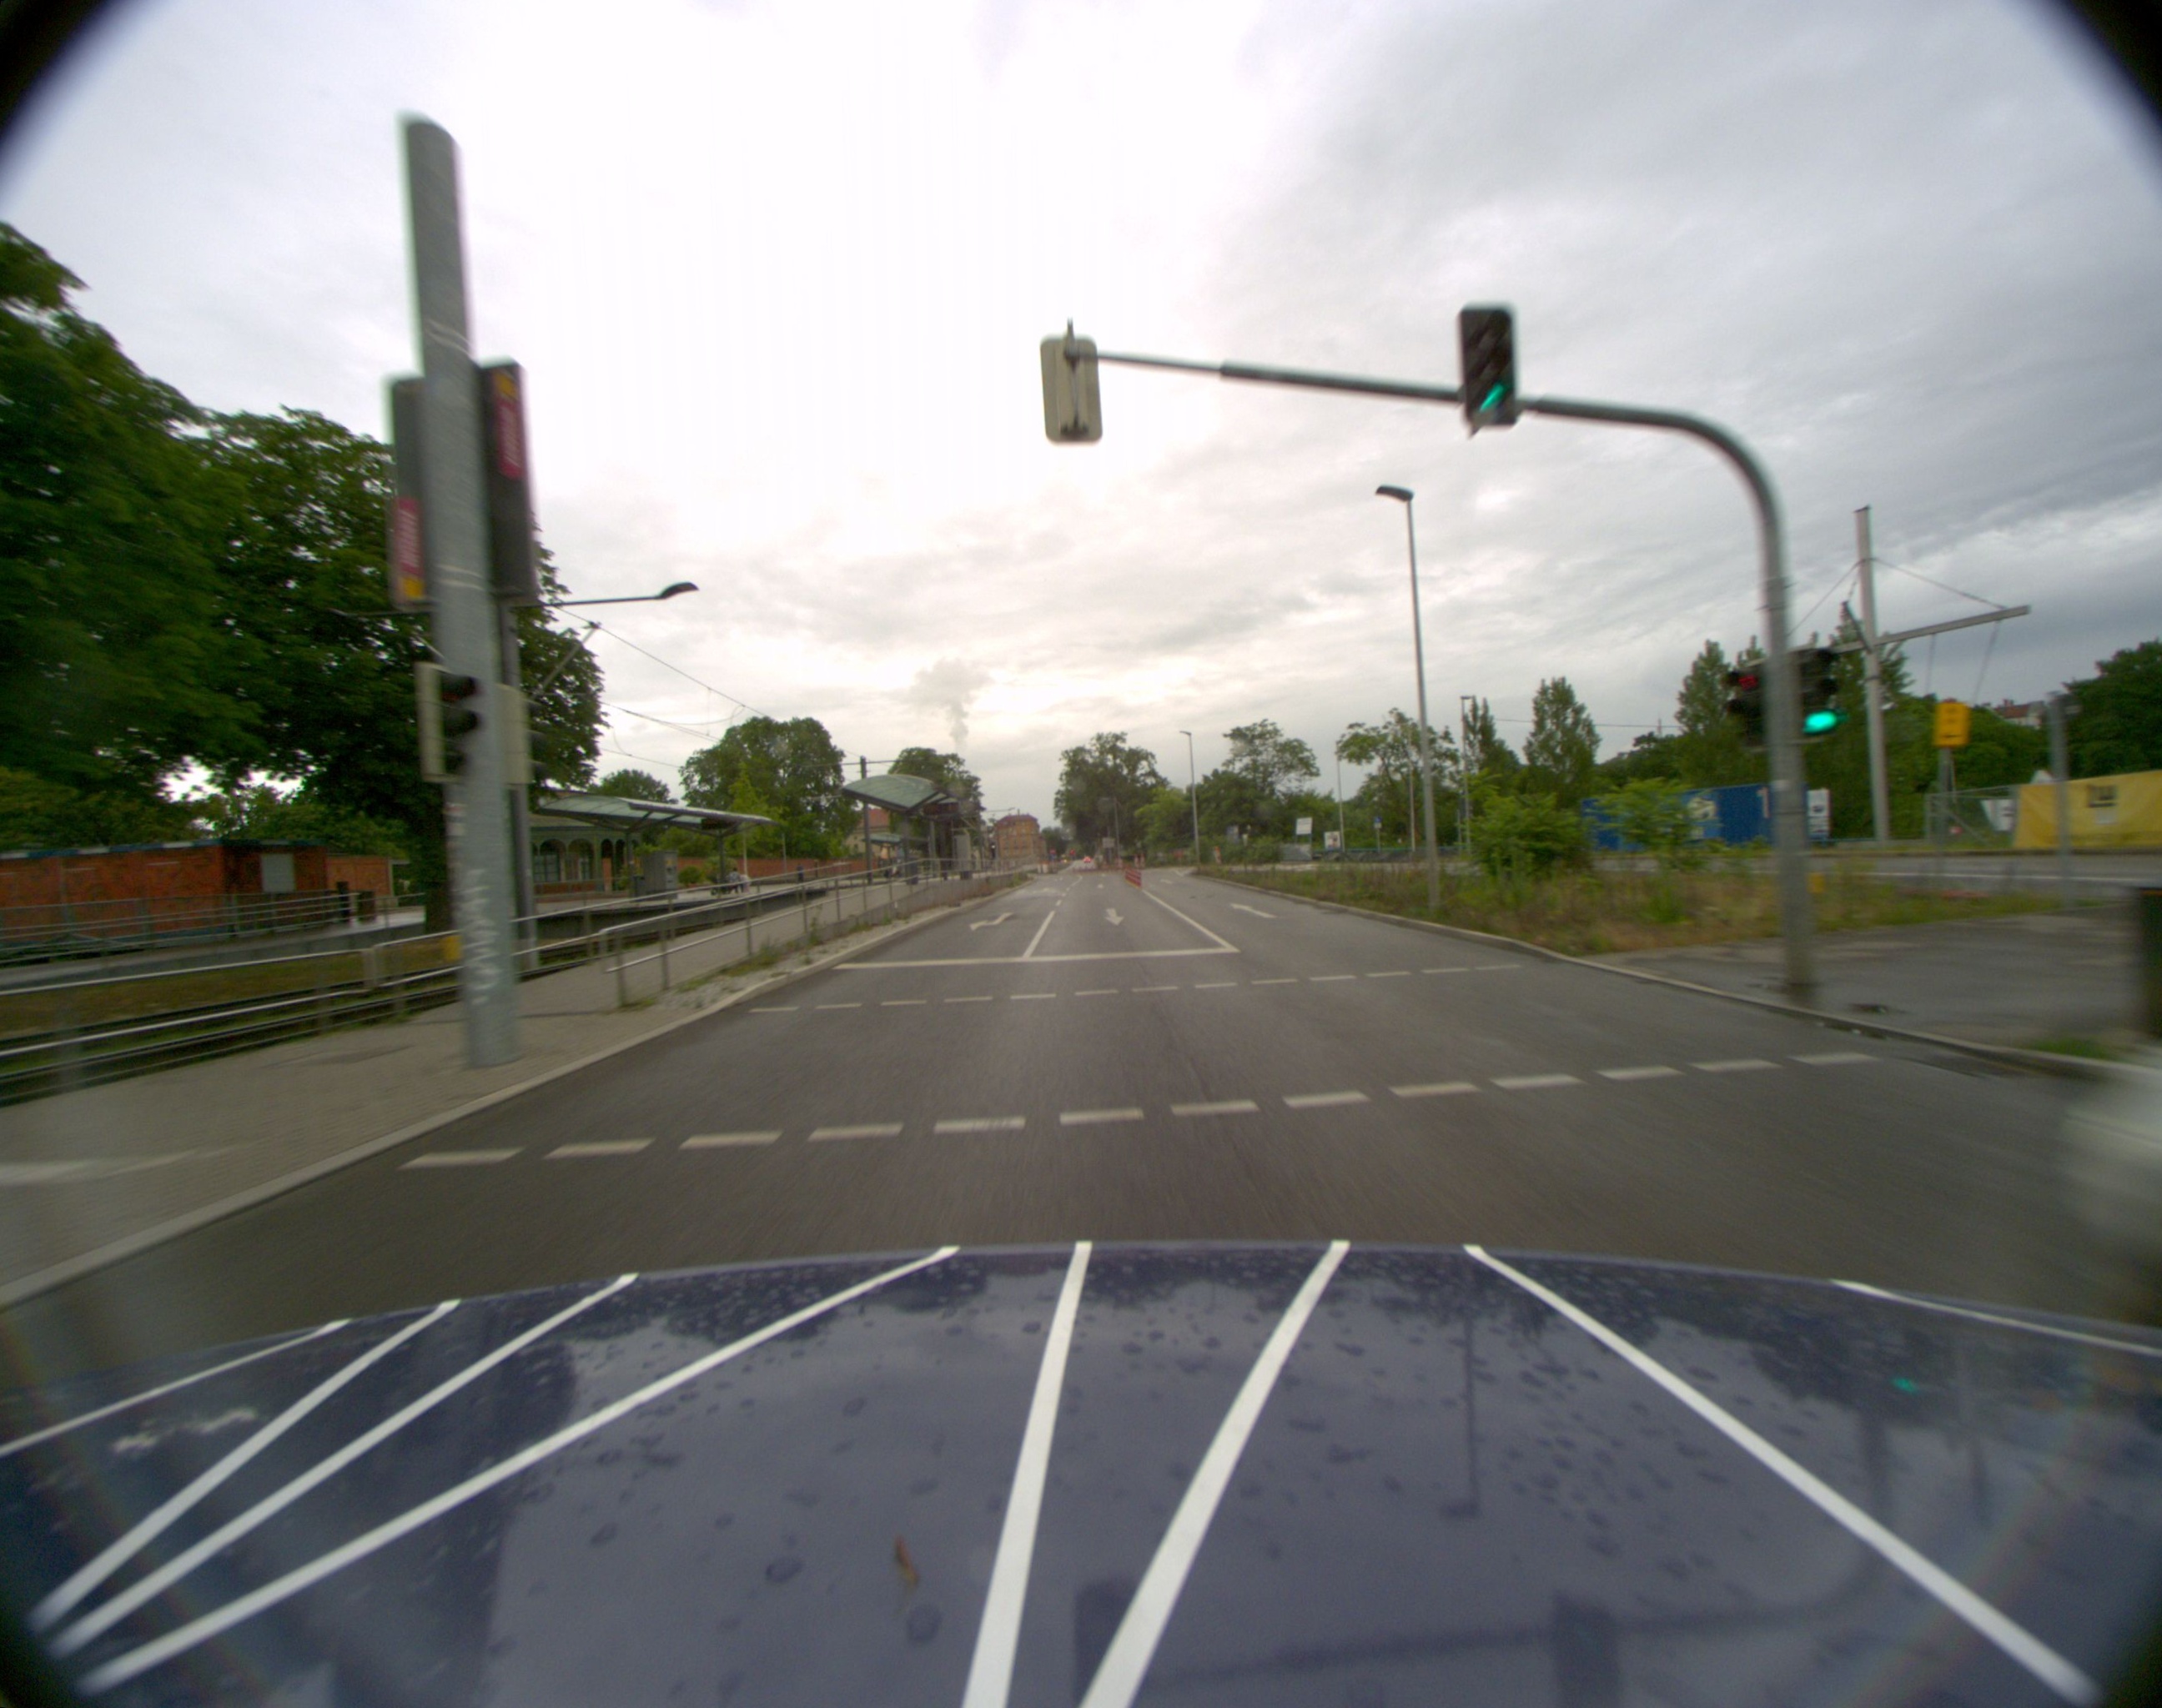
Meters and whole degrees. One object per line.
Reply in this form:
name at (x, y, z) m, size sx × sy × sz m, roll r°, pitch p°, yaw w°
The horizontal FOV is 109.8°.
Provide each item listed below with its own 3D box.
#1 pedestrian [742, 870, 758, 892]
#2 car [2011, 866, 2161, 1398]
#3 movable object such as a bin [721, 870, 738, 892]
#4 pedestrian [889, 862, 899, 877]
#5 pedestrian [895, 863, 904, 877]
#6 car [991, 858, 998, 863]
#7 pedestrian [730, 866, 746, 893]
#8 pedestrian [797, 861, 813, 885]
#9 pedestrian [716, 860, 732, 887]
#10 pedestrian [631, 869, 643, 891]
pedestrian at (-15.961, 1.293, 36.643) m, size 0.438 × 1.003 × 0.551 m, roll -3°, pitch 1°, yaw 1°
car at (3.801, 0.776, 0.602) m, size 1.591 × 1.482 × 3.714 m, roll -2°, pitch 0°, yaw 1°
movable object such as a bin at (-17.037, 1.294, 36.809) m, size 0.438 × 1.003 × 0.682 m, roll -3°, pitch 0°, yaw 2°
pedestrian at (-16.023, 1.329, 65.157) m, size 0.520 × 1.206 × 0.782 m, roll -8°, pitch 2°, yaw -3°
pedestrian at (-15.686, 1.357, 65.539) m, size 0.602 × 1.112 × 0.520 m, roll -8°, pitch 2°, yaw -15°
car at (-28.079, 2.031, 246.724) m, size 1.831 × 1.573 × 3.998 m, roll -4°, pitch 1°, yaw -6°
pedestrian at (-16.101, 1.182, 35.683) m, size 0.438 × 1.219 × 0.551 m, roll -3°, pitch 1°, yaw 1°
pedestrian at (-21.303, 1.436, 58.678) m, size 0.722 × 1.780 × 1.182 m, roll -2°, pitch 0°, yaw 1°
pedestrian at (-16.691, 0.913, 35.508) m, size 0.438 × 1.219 × 0.551 m, roll -3°, pitch 1°, yaw 1°
pedestrian at (-33.816, 1.993, 57.828) m, size 0.550 × 1.647 × 0.470 m, roll -3°, pitch 2°, yaw 35°
